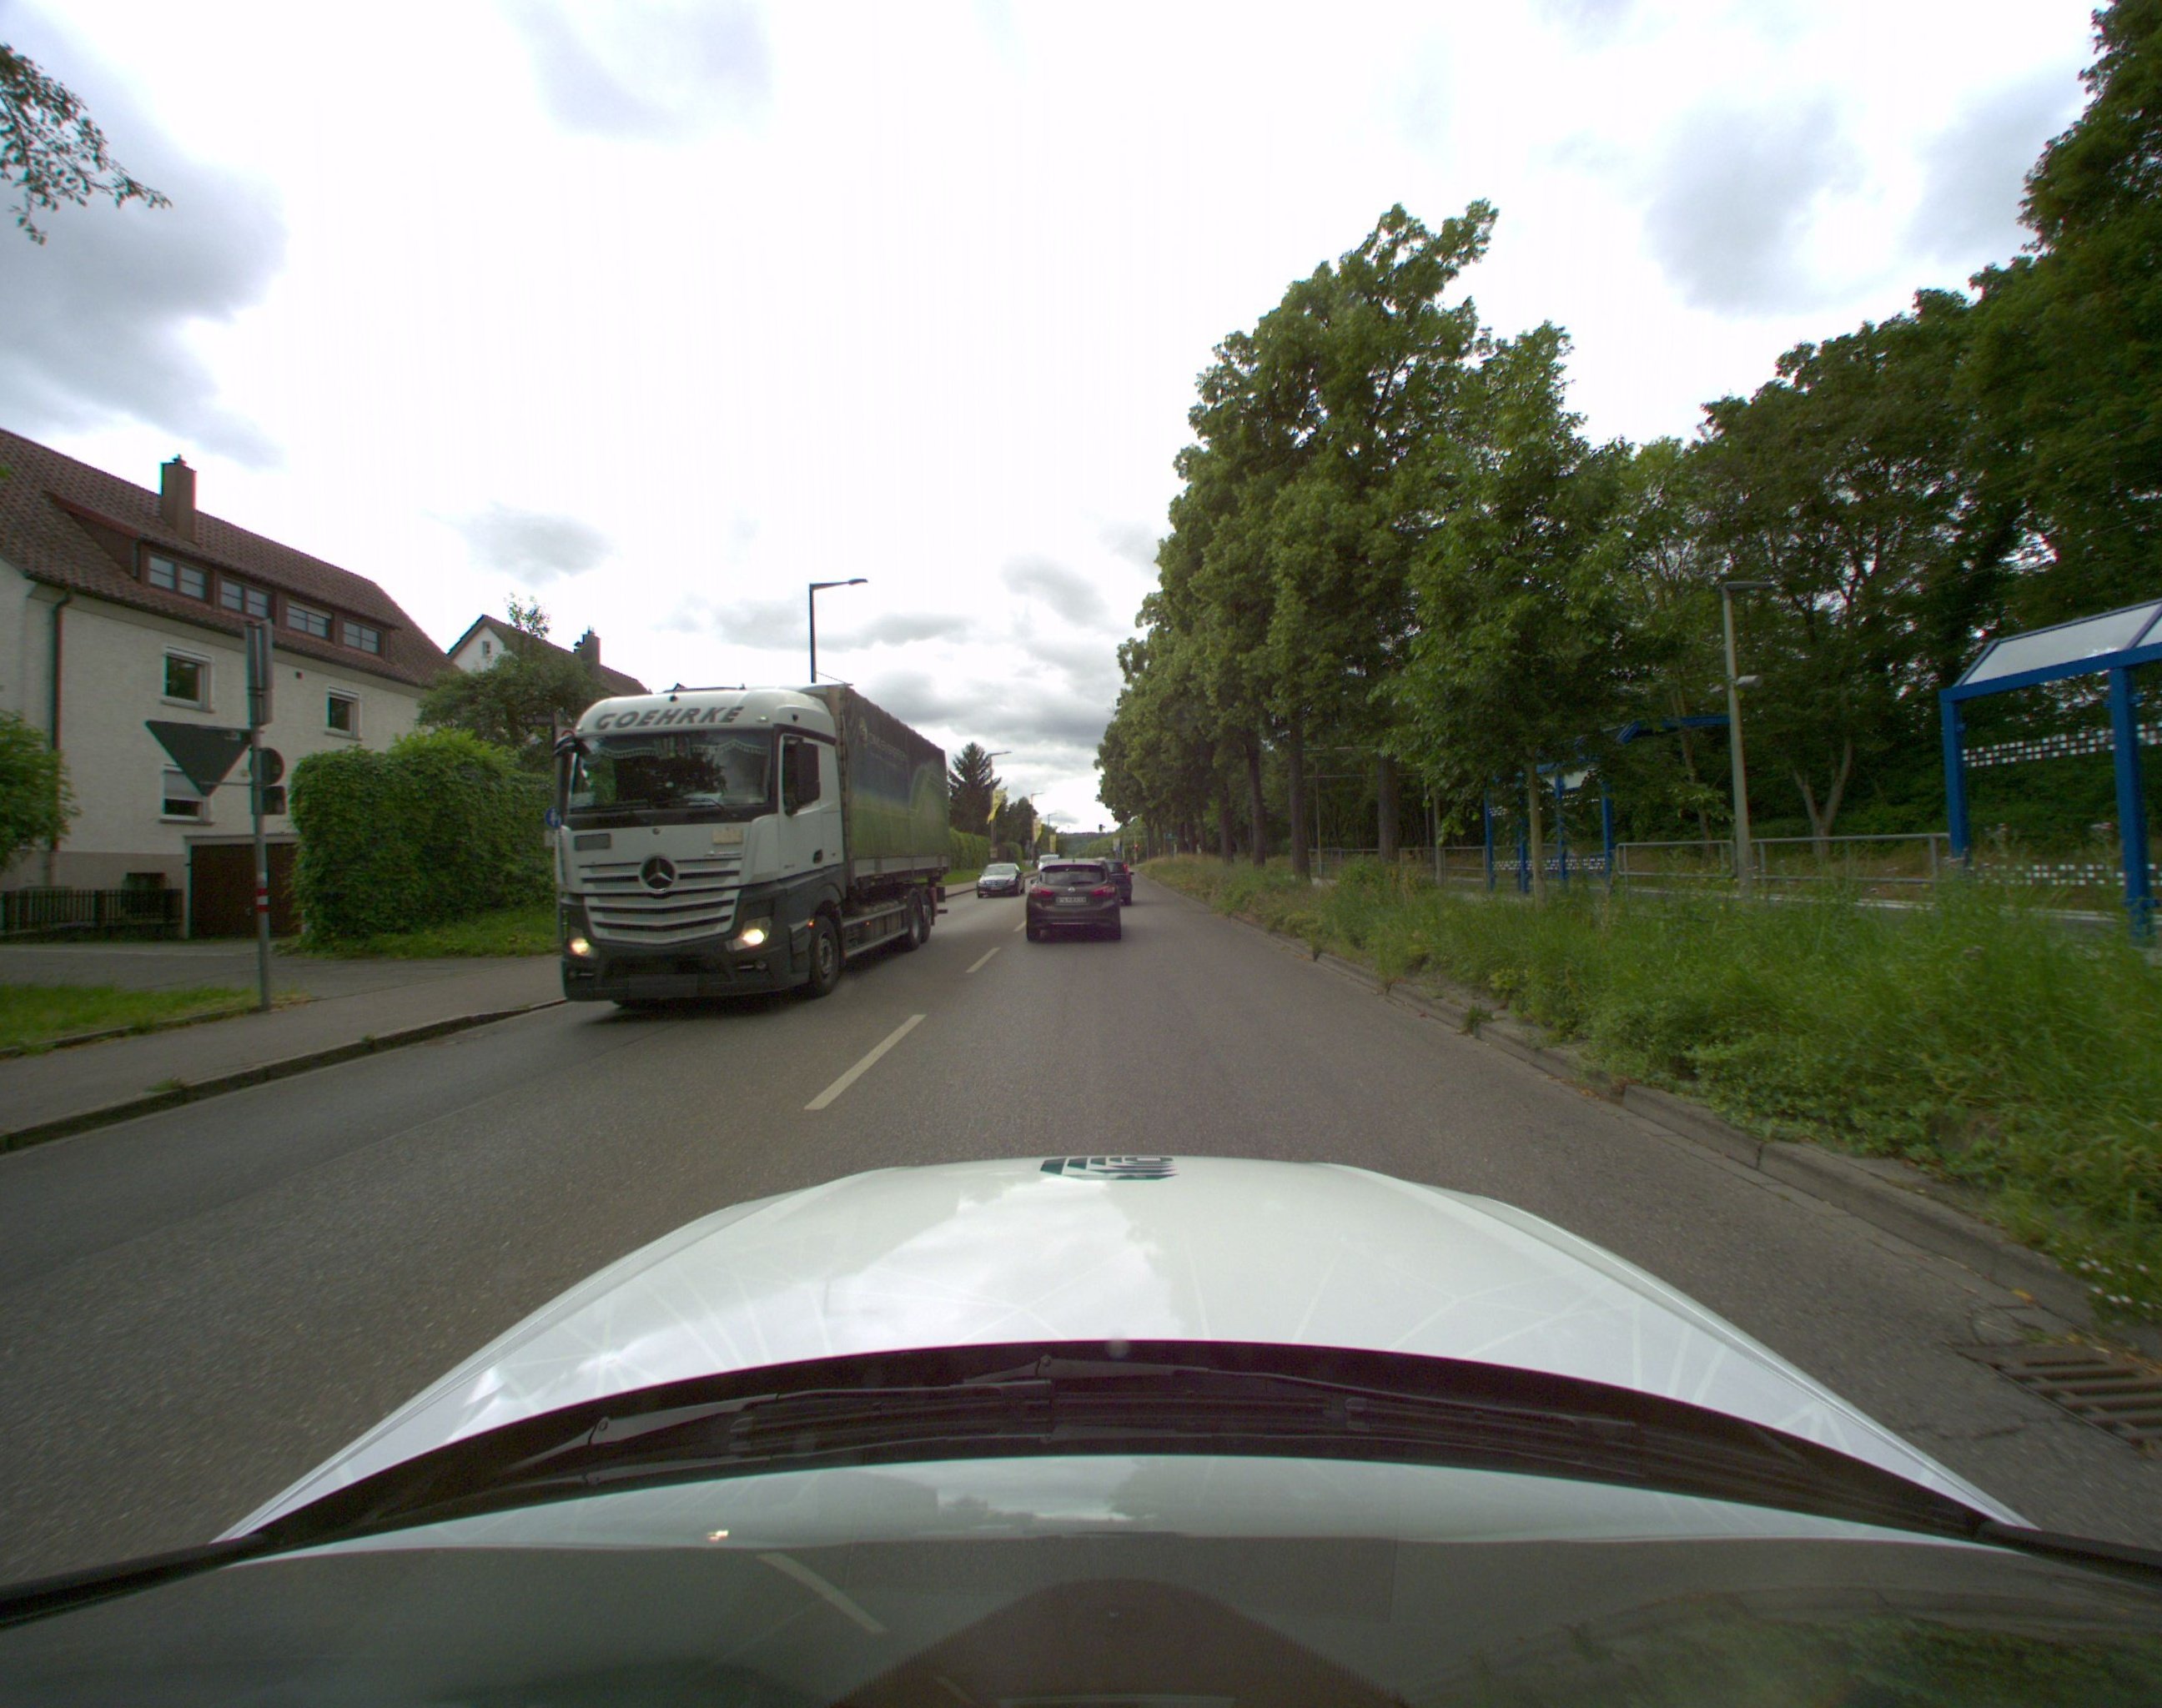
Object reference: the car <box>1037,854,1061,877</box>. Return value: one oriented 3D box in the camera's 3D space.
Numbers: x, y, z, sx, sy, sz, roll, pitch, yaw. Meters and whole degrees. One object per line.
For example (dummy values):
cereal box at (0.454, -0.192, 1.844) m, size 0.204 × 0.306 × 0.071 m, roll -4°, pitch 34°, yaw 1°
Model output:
car at (-2.938, 1.017, 74.793) m, size 1.900 × 1.932 × 4.911 m, roll -2°, pitch 1°, yaw 0°

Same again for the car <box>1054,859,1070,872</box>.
car at (-2.118, 1.320, 91.892) m, size 1.645 × 1.348 × 4.479 m, roll -3°, pitch 0°, yaw 1°

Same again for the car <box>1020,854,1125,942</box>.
car at (-0.091, 0.798, 16.752) m, size 1.828 × 1.519 × 4.484 m, roll -2°, pitch 0°, yaw 2°

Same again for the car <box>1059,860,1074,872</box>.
car at (-1.828, 1.491, 104.427) m, size 1.880 × 1.383 × 4.490 m, roll -3°, pitch 0°, yaw 0°

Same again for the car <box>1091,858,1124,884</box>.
car at (1.553, 0.964, 47.686) m, size 1.785 × 1.397 × 4.001 m, roll -2°, pitch 0°, yaw 2°

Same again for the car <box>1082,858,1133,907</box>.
car at (0.872, 0.882, 27.196) m, size 1.533 × 1.478 × 3.765 m, roll -2°, pitch 0°, yaw 2°

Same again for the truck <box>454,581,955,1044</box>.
truck at (-4.241, -0.313, 12.675) m, size 2.541 × 4.044 × 10.619 m, roll -4°, pitch -1°, yaw 1°

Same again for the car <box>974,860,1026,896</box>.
car at (-3.513, 1.023, 35.846) m, size 1.727 × 1.375 × 4.240 m, roll -3°, pitch 0°, yaw 1°
